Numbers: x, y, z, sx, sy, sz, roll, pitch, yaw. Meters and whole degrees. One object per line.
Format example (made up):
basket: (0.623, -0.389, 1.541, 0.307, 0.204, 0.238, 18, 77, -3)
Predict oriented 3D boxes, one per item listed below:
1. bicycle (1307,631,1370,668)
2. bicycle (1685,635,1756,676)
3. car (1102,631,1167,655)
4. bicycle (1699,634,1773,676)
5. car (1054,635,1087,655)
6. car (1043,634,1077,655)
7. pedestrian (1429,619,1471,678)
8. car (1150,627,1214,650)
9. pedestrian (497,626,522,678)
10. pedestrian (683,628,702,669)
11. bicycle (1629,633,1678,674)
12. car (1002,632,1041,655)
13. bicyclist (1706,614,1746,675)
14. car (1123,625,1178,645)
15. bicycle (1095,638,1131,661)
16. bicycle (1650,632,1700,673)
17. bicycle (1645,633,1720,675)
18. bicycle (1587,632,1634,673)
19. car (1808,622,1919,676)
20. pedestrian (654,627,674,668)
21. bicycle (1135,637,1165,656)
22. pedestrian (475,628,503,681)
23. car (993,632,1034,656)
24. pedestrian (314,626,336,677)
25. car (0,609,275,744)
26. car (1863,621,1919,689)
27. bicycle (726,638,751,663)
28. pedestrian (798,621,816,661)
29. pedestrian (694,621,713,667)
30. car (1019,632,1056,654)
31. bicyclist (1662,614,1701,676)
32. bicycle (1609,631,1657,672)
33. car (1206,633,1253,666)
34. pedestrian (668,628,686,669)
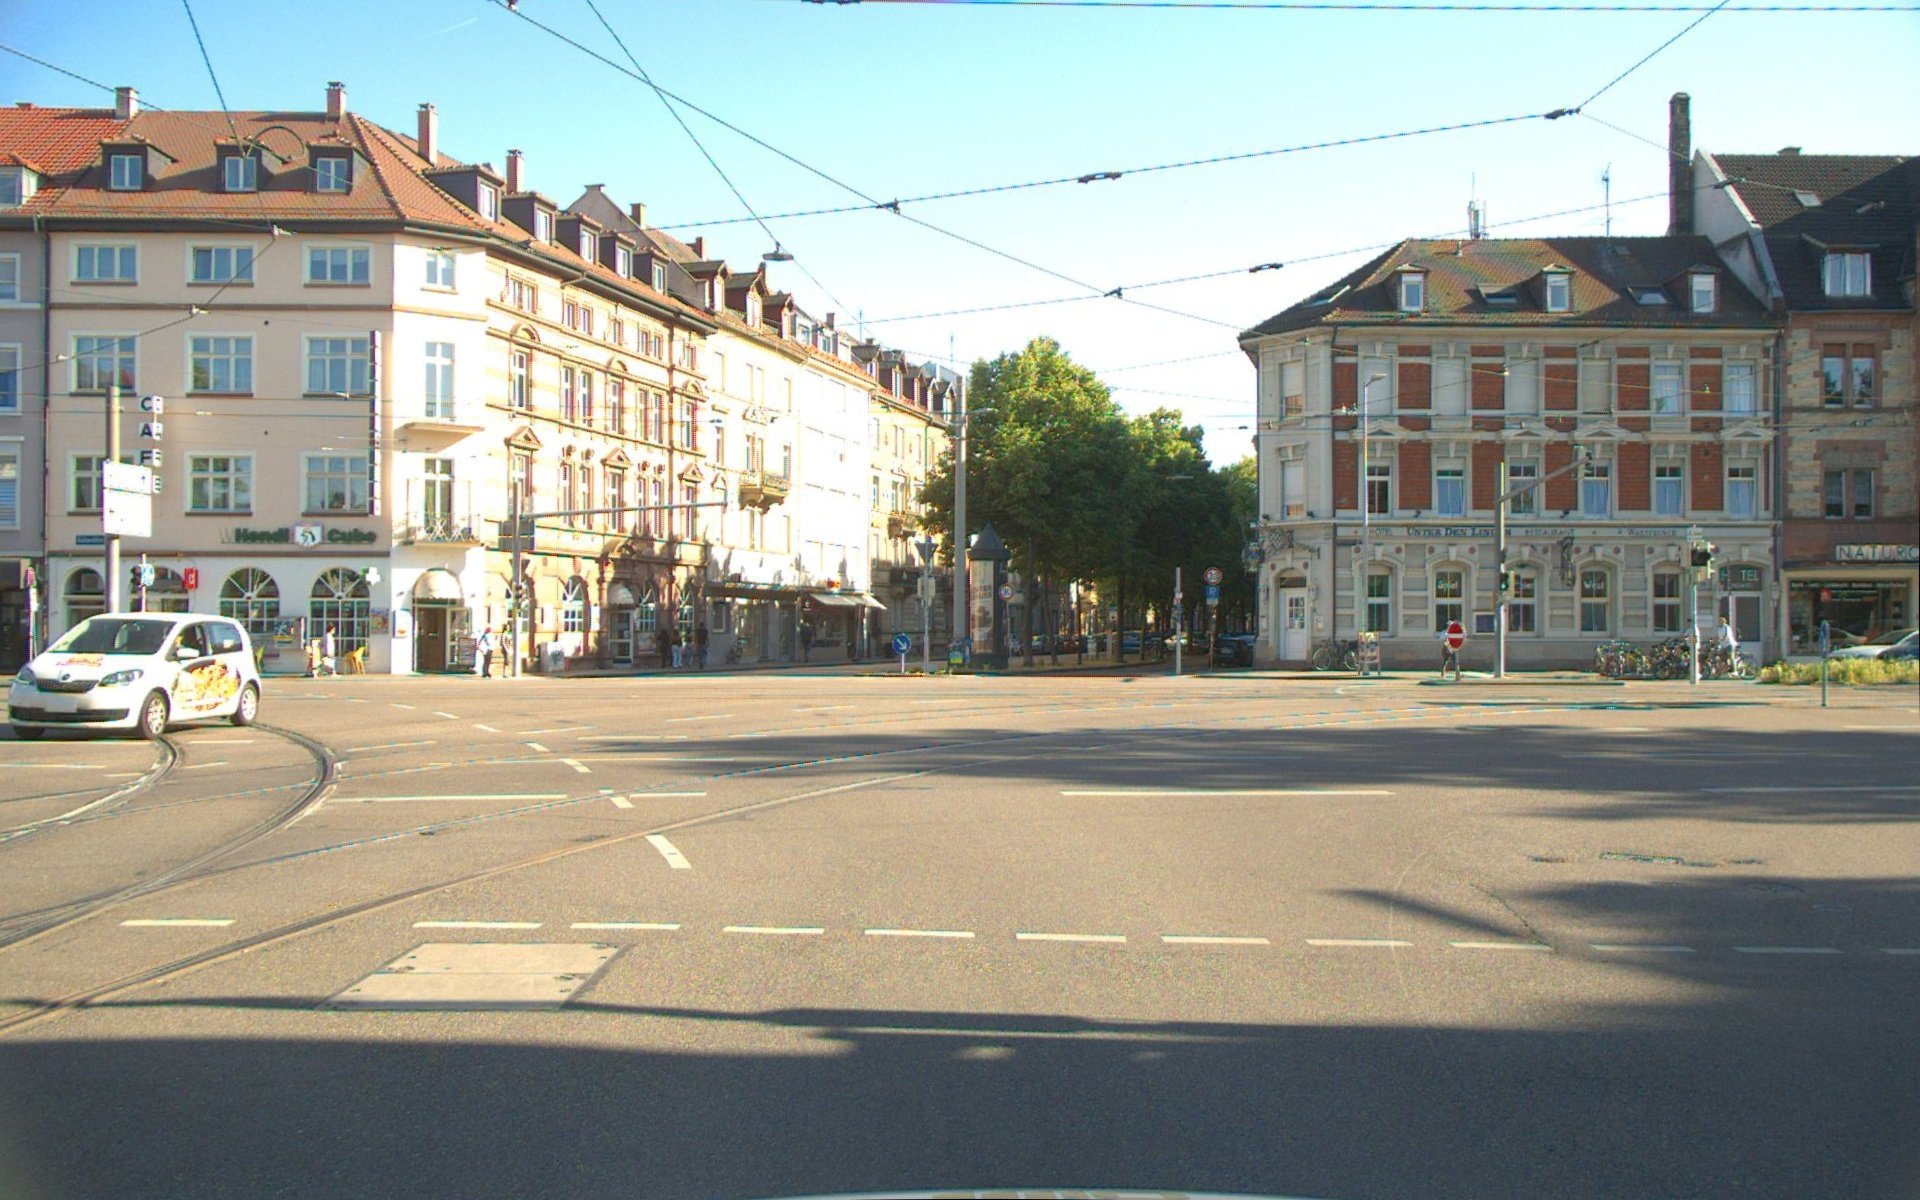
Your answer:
bicycle: (12.406, 1.617, 54.241, 1.919, 1.211, 0.546, 0, -1, 4)
bicycle: (22.999, 1.669, 50.026, 1.926, 1.211, 0.677, 0, -1, -13)
car: (11.882, 2.902, 112.698, 3.910, 1.572, 1.997, -1, -1, 27)
bicycle: (23.011, 1.625, 49.031, 1.922, 1.211, 0.601, 0, -1, -3)
car: (8.928, 3.624, 133.499, 1.951, 1.523, 4.037, 0, -1, 13)
car: (7.795, 3.443, 128.763, 1.951, 1.523, 4.037, 0, -1, 13)
pedestrian: (14.213, 1.395, 47.989, 0.708, 1.699, 0.930, 0, -1, -29)
car: (15.240, 2.645, 113.712, 3.912, 1.572, 1.996, -1, -1, 30)
pedestrian: (-14.665, 1.692, 53.844, 0.617, 1.670, 0.553, 0, -1, 12)
pedestrian: (-10.941, 1.981, 67.664, 0.539, 1.670, 0.633, -1, -1, 15)
bicycle: (21.114, 1.616, 50.400, 0.663, 1.211, 1.967, 0, -1, 0)
car: (4.296, 3.003, 114.262, 1.951, 1.523, 4.037, 0, -1, 13)
bicyclist: (22.706, 1.318, 49.015, 0.885, 1.795, 0.601, 0, -1, -2)
car: (15.144, 2.803, 131.604, 3.910, 1.572, 1.997, -1, -1, 27)
bicycle: (7.372, 2.374, 79.721, 0.577, 1.086, 1.924, 0, -1, -37)
bicycle: (21.776, 1.576, 50.405, 0.663, 1.211, 1.967, 0, -1, 0)
bicycle: (21.020, 1.567, 48.142, 1.920, 1.211, 0.601, -1, -1, 2)
bicycle: (19.787, 1.578, 50.352, 0.663, 1.211, 1.967, 0, -1, 0)
car: (25.929, 1.350, 45.862, 3.906, 1.437, 1.845, 0, -1, -2)
pedestrian: (-12.114, 1.945, 67.664, 0.614, 1.670, 0.538, -1, -1, 17)
bicycle: (11.041, 2.716, 96.270, 0.577, 1.086, 1.924, 0, -1, -37)
pedestrian: (-14.920, 1.711, 52.395, 0.661, 1.670, 0.579, 0, -1, 12)
car: (3.557, 2.907, 109.764, 1.951, 1.523, 4.037, 0, -1, 13)
pedestrian: (-19.521, 1.564, 50.848, 0.648, 1.551, 0.690, 0, -1, -22)
car: (-10.129, 0.885, 20.524, 1.682, 1.523, 3.584, 0, -1, 2)
car: (25.883, 1.394, 42.865, 3.906, 1.697, 1.954, 0, -1, -2)
bicycle: (-10.221, 2.322, 76.218, 0.484, 1.086, 1.771, -1, -1, 15)
pedestrian: (-7.599, 2.040, 82.168, 0.667, 1.942, 0.633, -1, -1, 15)
pedestrian: (-10.594, 1.805, 68.364, 0.567, 1.868, 0.633, -1, -1, 15)
car: (5.633, 3.126, 119.518, 1.951, 1.523, 4.037, 0, -1, 13)
bicyclist: (20.994, 1.300, 48.143, 0.854, 1.795, 0.602, -1, -1, 2)
bicycle: (20.475, 1.558, 50.390, 0.663, 1.211, 1.967, 0, -1, 0)
car: (12.979, 2.354, 79.475, 1.951, 1.523, 4.037, 0, -1, 13)
pedestrian: (-11.563, 1.994, 67.554, 0.539, 1.670, 0.538, -1, -1, 16)
